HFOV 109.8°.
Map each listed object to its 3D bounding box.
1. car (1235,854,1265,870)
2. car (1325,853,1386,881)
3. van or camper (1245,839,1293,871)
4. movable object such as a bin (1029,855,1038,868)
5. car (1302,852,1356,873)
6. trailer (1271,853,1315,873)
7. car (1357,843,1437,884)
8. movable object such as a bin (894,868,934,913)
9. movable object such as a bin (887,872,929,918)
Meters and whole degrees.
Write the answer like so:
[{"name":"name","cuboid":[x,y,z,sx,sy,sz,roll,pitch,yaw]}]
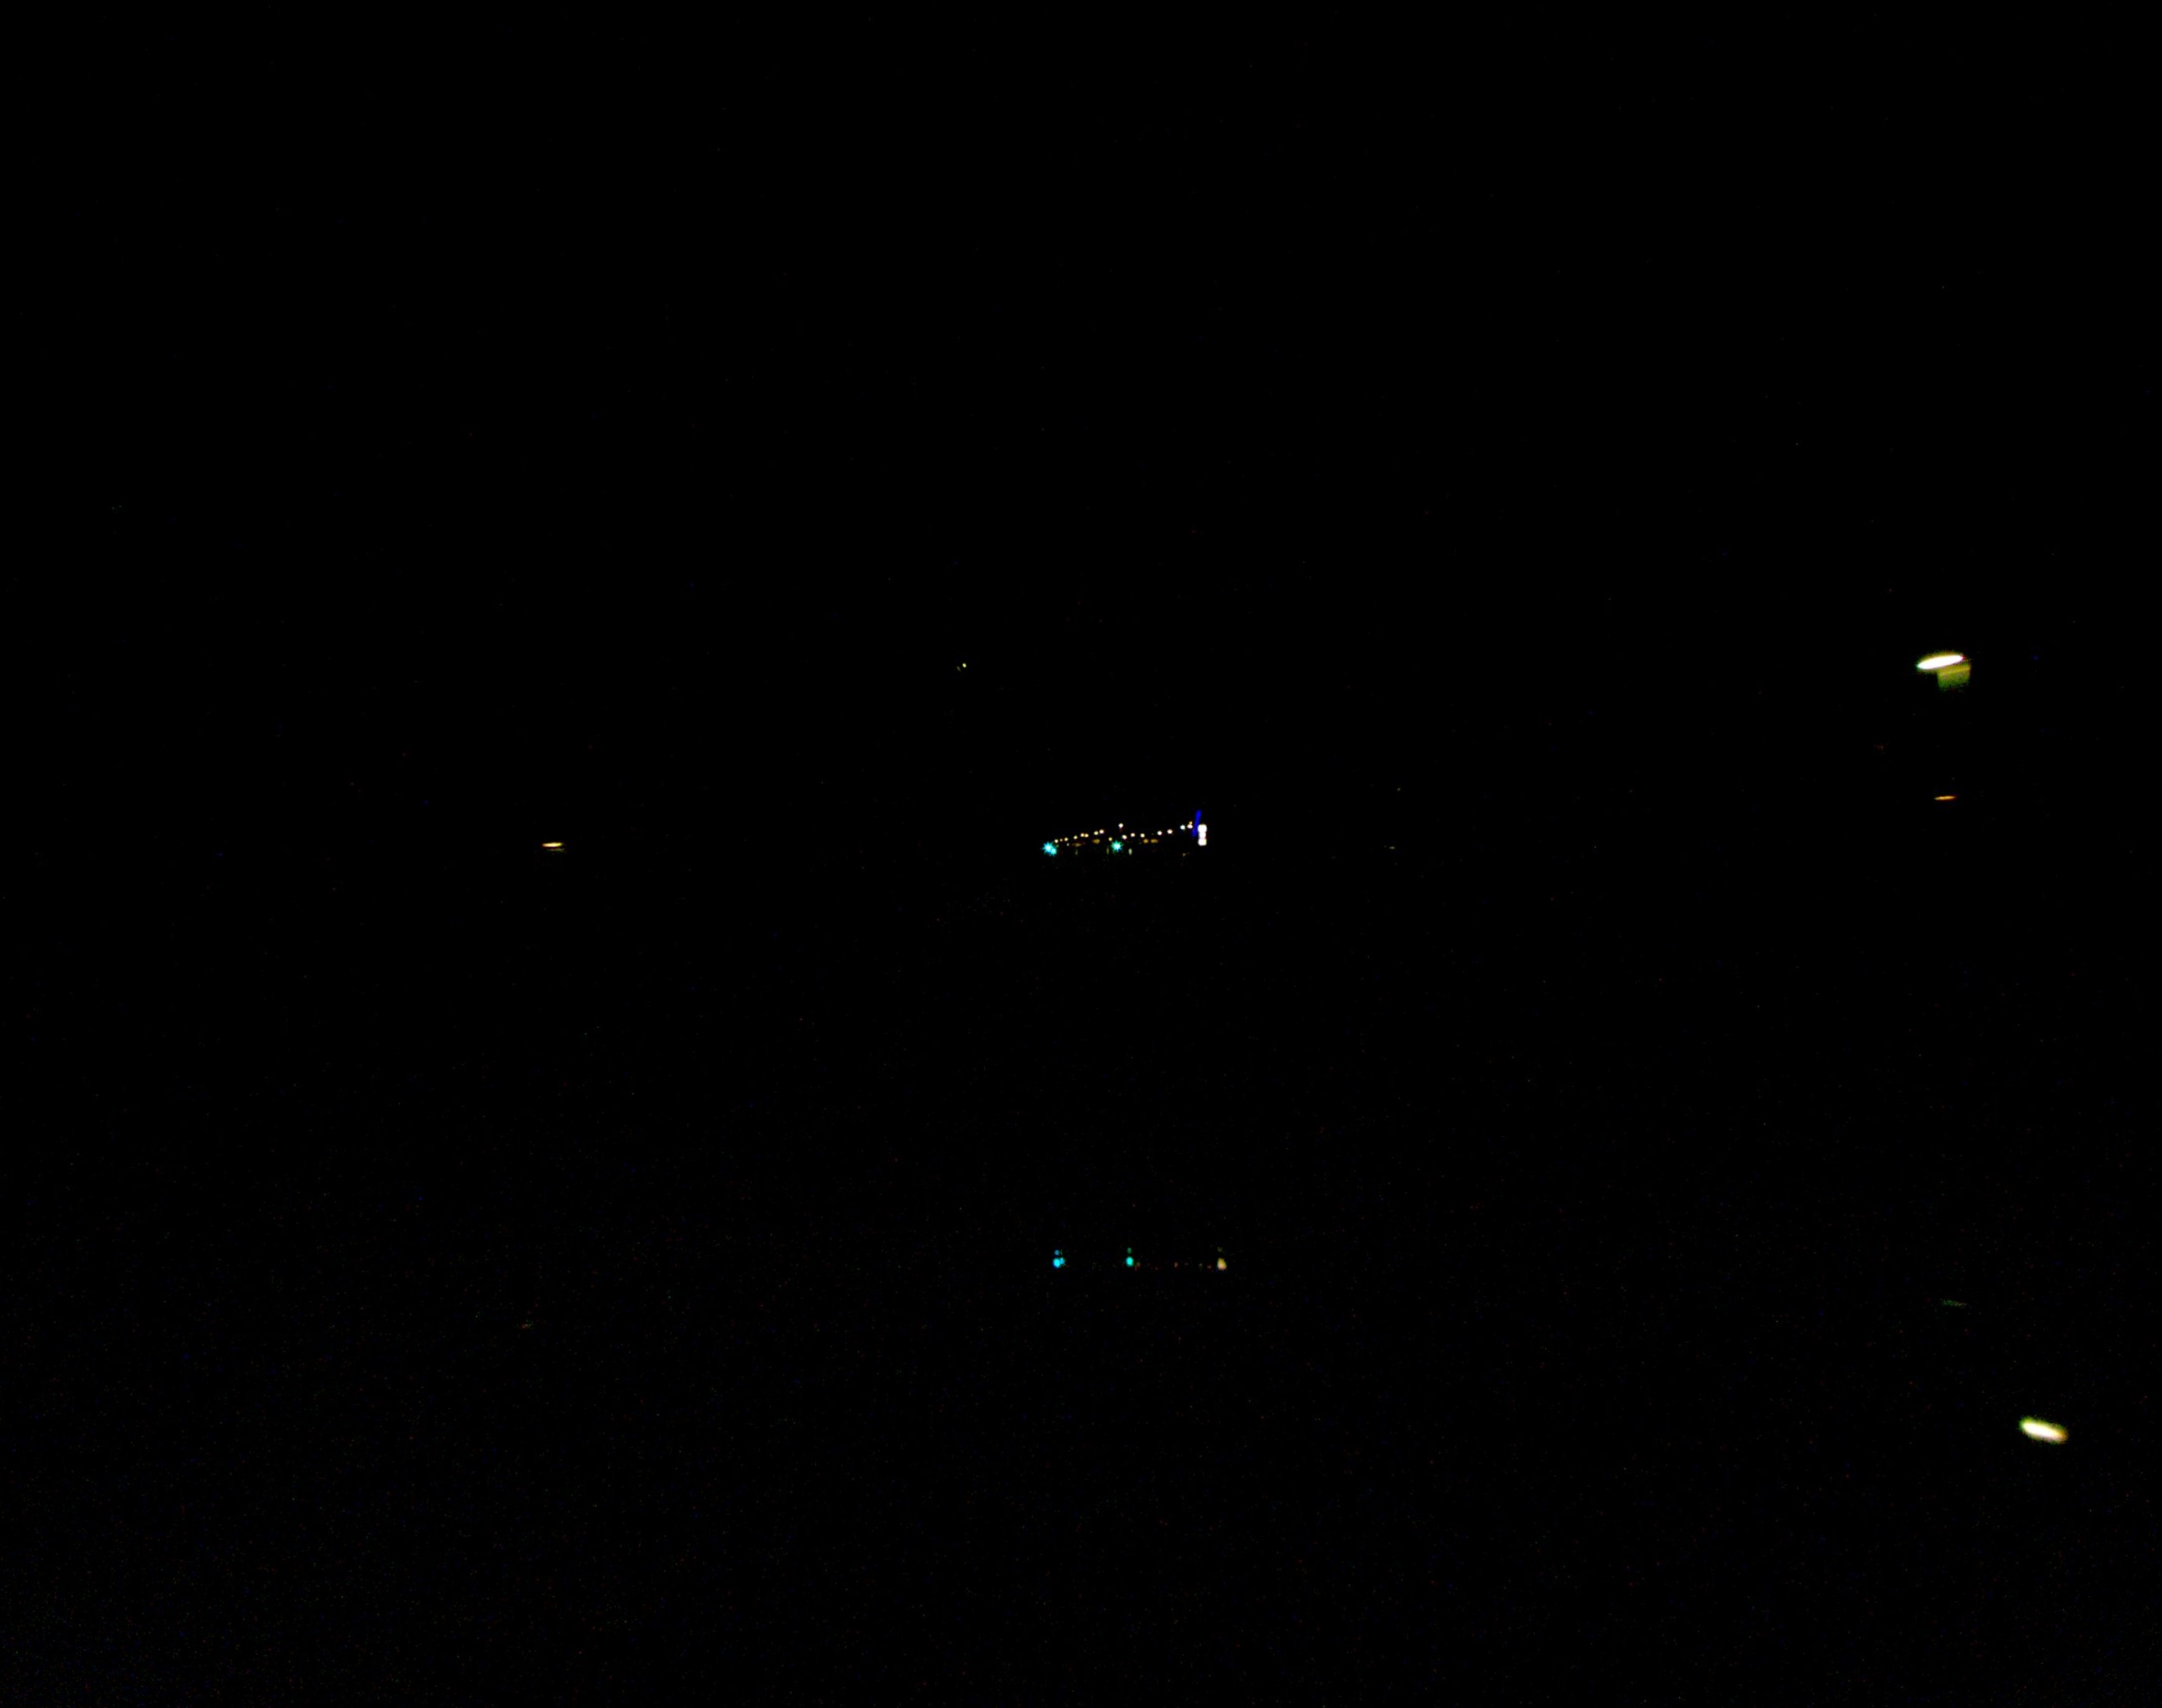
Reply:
[{"name":"car","cuboid":[15.964,0.717,71.967,1.650,1.332,4.542,3,0,-1]},{"name":"car","cuboid":[16.105,0.695,44.822,1.906,1.513,5.172,-1,0,3]},{"name":"van or camper","cuboid":[16.149,0.066,65.626,2.279,2.632,5.662,1,0,-4]},{"name":"movable object such as a bin","cuboid":[-4.373,0.690,70.158,0.725,1.194,0.720,0,1,7]},{"name":"car","cuboid":[16.425,0.552,50.326,3.037,1.318,1.533,-1,1,-5]},{"name":"trailer","cuboid":[16.363,0.689,58.947,2.424,1.367,4.656,3,0,5]},{"name":"car","cuboid":[16.004,0.446,38.737,1.862,1.893,4.878,-1,0,-3]},{"name":"movable object such as a bin","cuboid":[-4.495,0.978,20.498,0.835,1.174,0.828,-1,0,3]},{"name":"movable object such as a bin","cuboid":[-4.455,1.046,19.622,0.859,1.113,0.840,-1,0,3]}]
